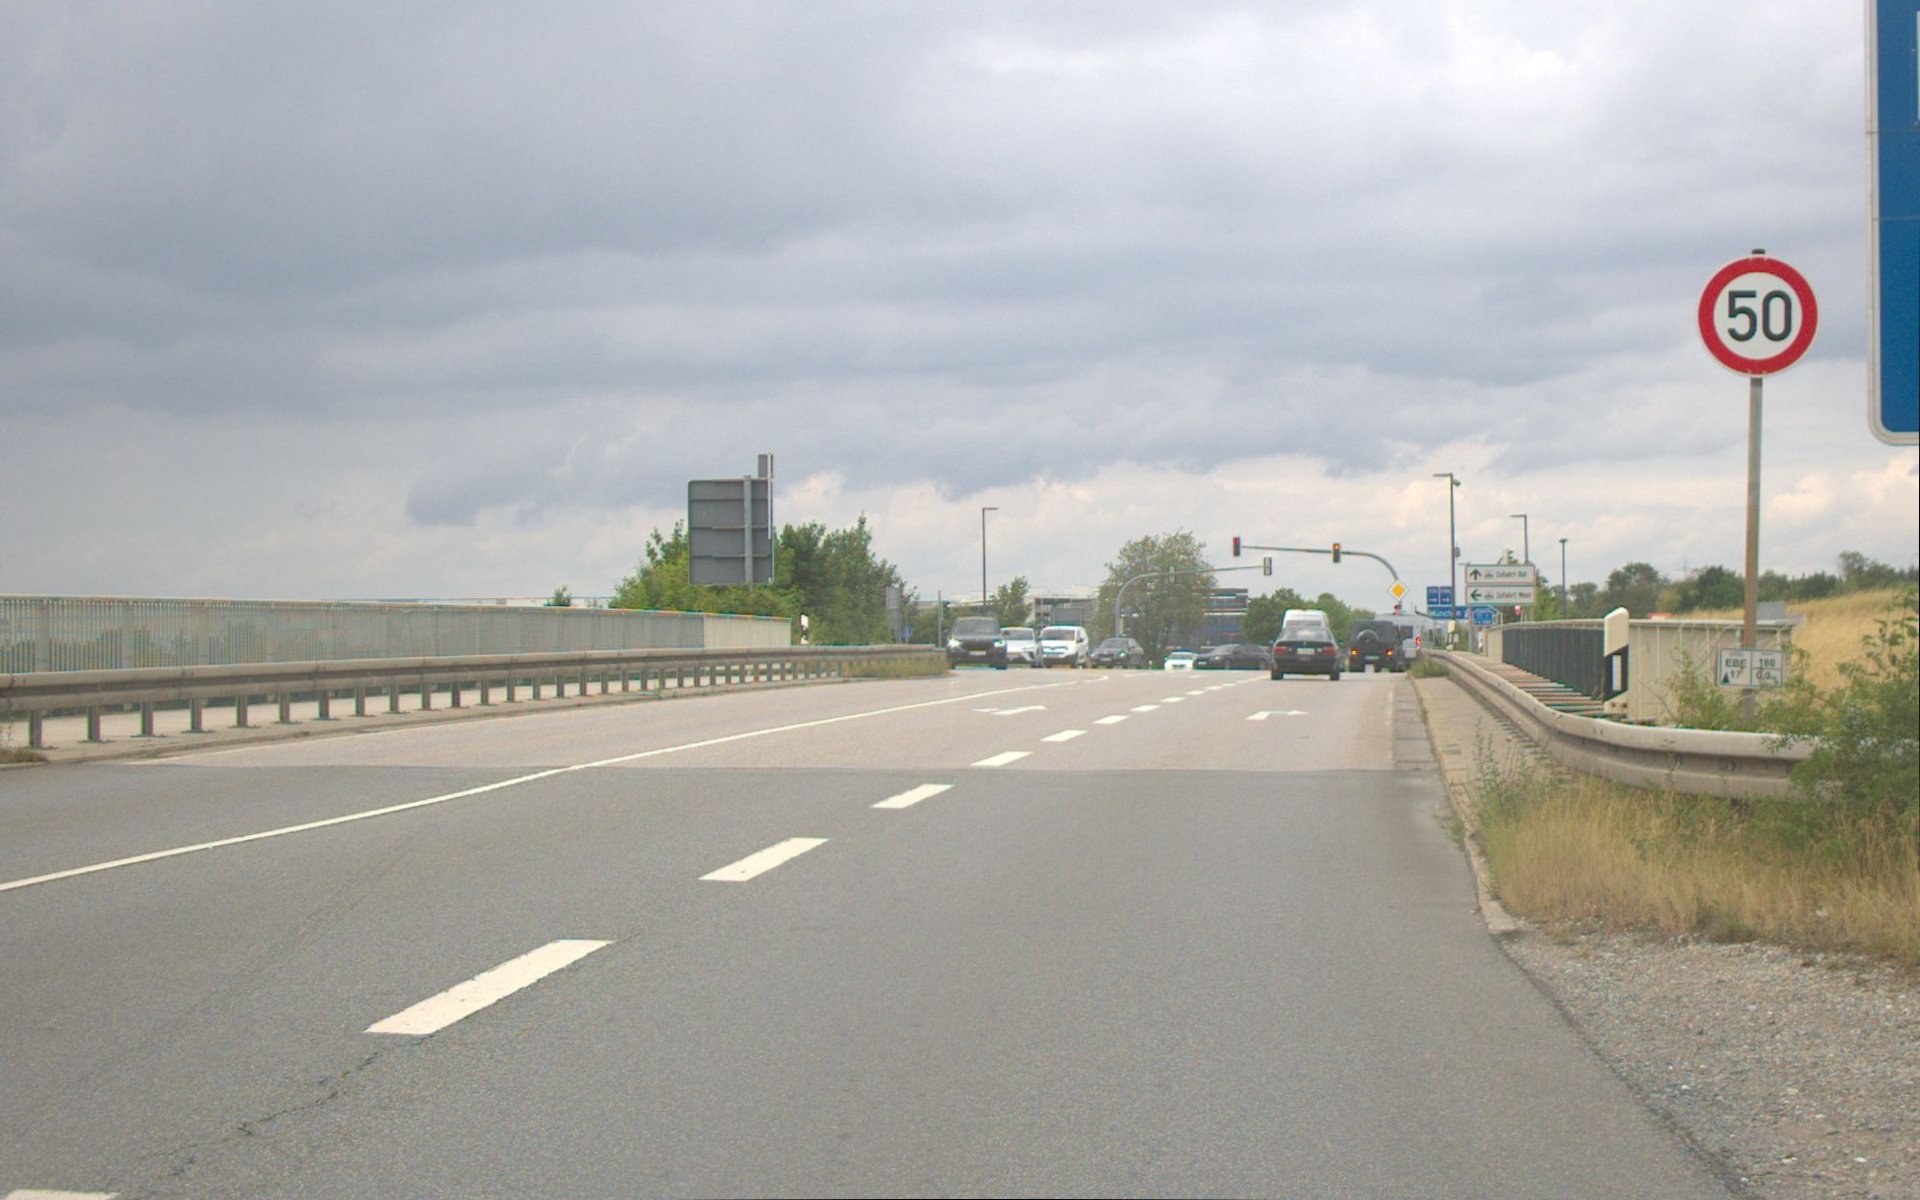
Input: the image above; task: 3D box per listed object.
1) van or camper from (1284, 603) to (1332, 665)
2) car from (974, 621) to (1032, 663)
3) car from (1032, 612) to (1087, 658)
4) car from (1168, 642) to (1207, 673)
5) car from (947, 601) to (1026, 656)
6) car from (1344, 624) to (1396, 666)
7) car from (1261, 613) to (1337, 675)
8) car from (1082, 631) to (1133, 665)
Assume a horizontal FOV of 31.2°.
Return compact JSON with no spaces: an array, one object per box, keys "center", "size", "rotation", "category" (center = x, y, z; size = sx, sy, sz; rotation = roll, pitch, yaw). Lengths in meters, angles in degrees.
[{"center":[14.927,1.464,147.252],"size":[1.877,2.572,3.998],"rotation":[2,-1,7],"category":"van or camper"},{"center":[1.613,1.557,127.563],"size":[1.712,1.481,4.278],"rotation":[-1,0,6],"category":"car"},{"center":[4.278,1.465,146.908],"size":[1.954,1.868,4.819],"rotation":[-1,0,6],"category":"car"},{"center":[11.638,2.928,175.442],"size":[1.809,1.364,4.785],"rotation":[1,1,6],"category":"car"},{"center":[0.904,0.912,113.141],"size":[1.994,1.726,4.760],"rotation":[-1,0,8],"category":"car"},{"center":[15.511,1.711,129.807],"size":[1.682,1.539,3.613],"rotation":[0,-1,11],"category":"car"},{"center":[8.351,1.101,84.564],"size":[1.519,1.480,3.613],"rotation":[0,-1,11],"category":"car"},{"center":[7.008,2.301,163.444],"size":[1.583,1.552,4.143],"rotation":[1,-1,14],"category":"car"}]
